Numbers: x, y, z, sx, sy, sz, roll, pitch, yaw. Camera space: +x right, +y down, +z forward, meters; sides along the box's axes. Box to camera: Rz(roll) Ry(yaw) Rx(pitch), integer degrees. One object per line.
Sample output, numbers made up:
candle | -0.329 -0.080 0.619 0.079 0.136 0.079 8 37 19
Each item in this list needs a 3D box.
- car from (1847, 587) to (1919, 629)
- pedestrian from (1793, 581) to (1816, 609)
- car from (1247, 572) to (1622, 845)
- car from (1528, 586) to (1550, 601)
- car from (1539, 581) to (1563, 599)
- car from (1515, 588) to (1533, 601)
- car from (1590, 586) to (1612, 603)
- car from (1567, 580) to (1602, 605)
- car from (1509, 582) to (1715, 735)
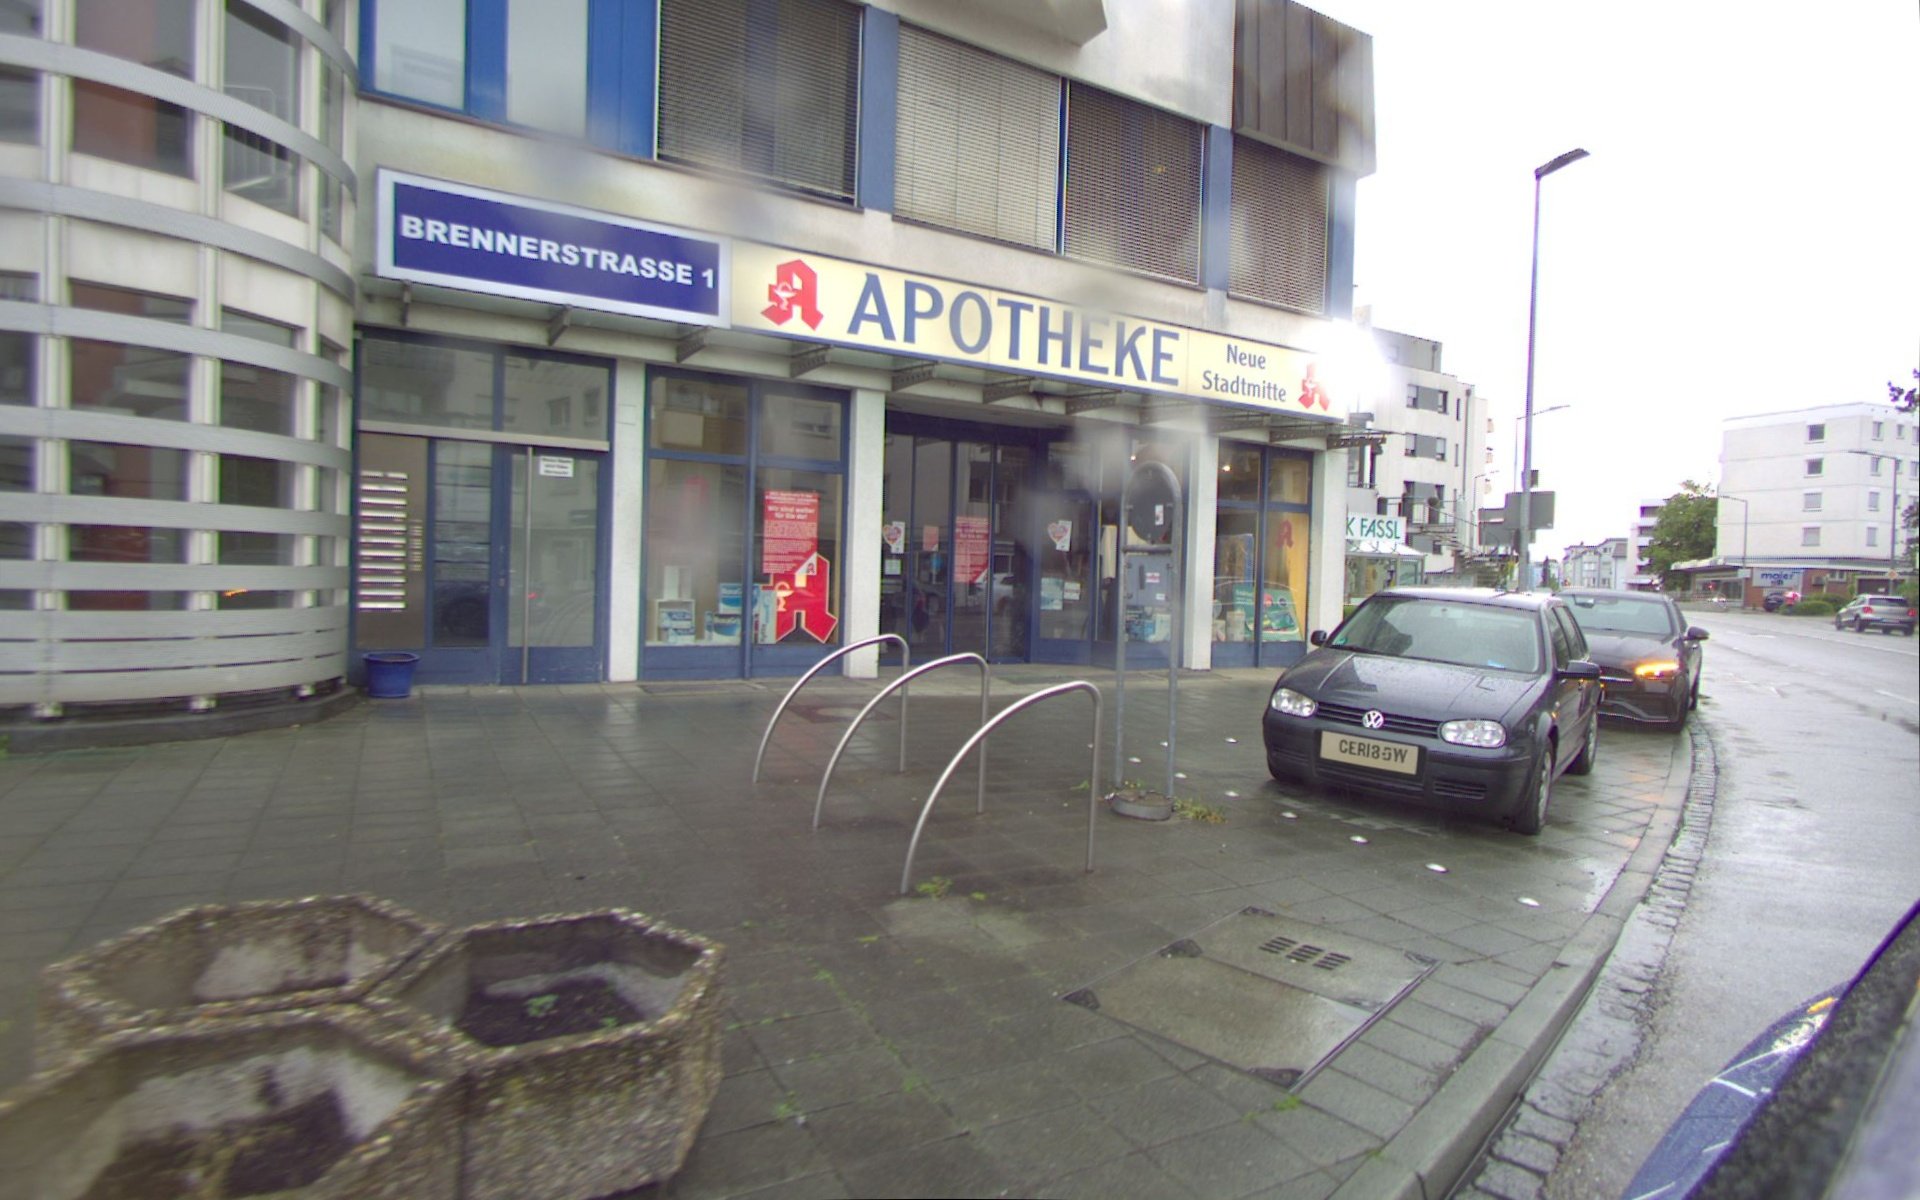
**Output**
car | 36.016 0.275 39.151 1.857 1.454 3.701 2 2 30
pedestrian | 53.683 -0.336 64.365 0.845 1.757 0.830 2 2 22
car | 3.654 0.560 7.436 1.648 1.388 3.680 5 4 38
car | 63.291 -0.726 110.650 1.784 1.385 3.937 2 3 27
car | 53.009 -0.921 90.849 1.720 1.547 4.021 2 1 30
car | 73.413 -0.683 131.744 1.983 1.635 3.958 0 0 30
car | 77.065 -0.662 121.627 1.982 2.039 3.959 0 0 29
car | 39.623 -0.500 64.270 1.720 1.462 4.005 1 2 30
car | 7.750 0.538 11.874 1.651 1.442 3.945 2 2 38
